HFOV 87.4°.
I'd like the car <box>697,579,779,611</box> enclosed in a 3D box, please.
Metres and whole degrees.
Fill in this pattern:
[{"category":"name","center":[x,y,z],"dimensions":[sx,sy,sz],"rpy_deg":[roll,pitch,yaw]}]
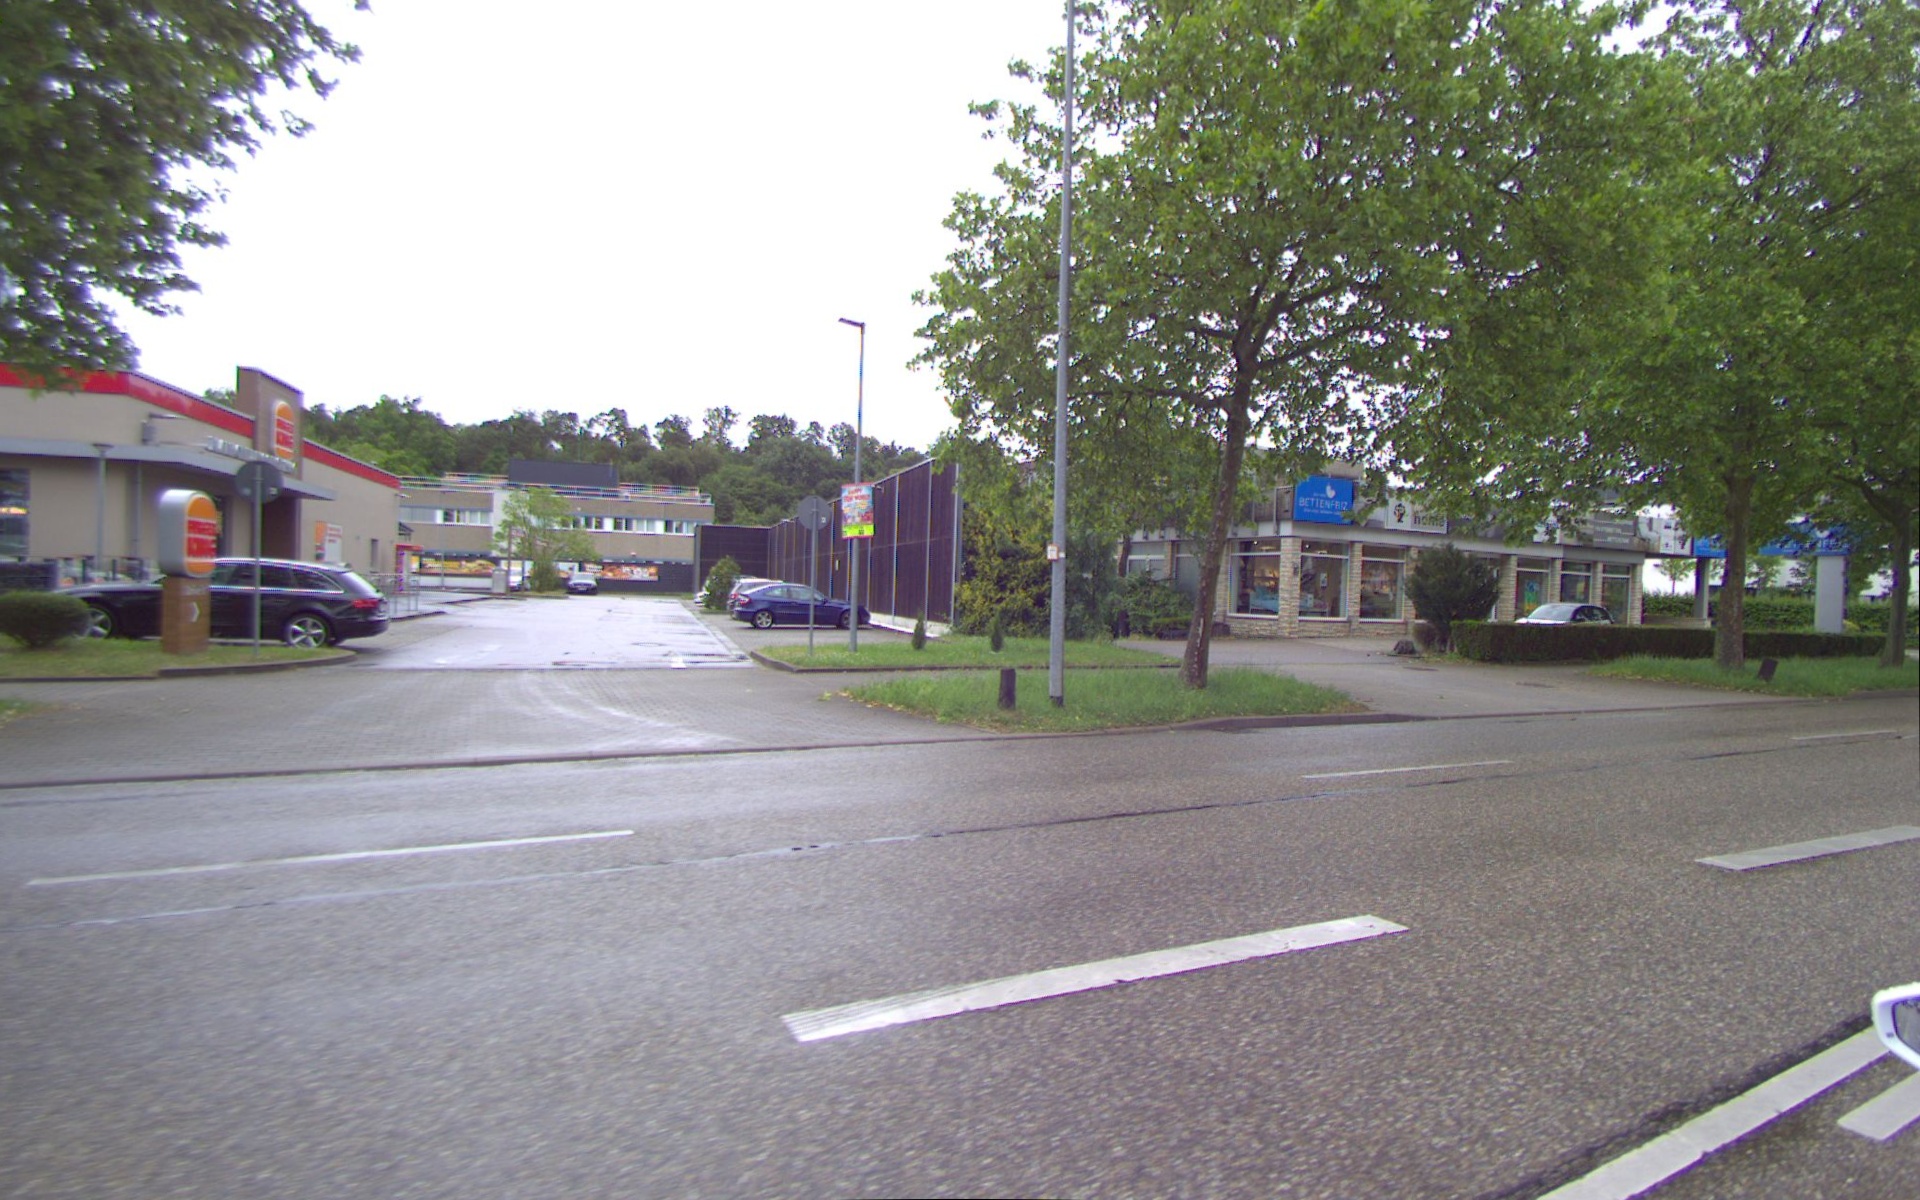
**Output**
[{"category":"car","center":[-12.250,-0.270,55.412],"dimensions":[4.246,1.660,1.864],"rpy_deg":[1,0,-17]}]

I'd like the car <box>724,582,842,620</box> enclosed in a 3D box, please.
[{"category":"car","center":[-6.791,0.028,38.429],"dimensions":[4.246,1.383,1.864],"rpy_deg":[0,1,-17]}]

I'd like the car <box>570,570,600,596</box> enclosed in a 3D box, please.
[{"category":"car","center":[-24.796,-1.113,66.500],"dimensions":[1.689,1.651,3.827],"rpy_deg":[1,0,-19]}]

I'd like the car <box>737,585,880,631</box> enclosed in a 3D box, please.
[{"category":"car","center":[-4.797,0.230,31.680],"dimensions":[4.246,1.383,1.864],"rpy_deg":[0,0,-17]}]

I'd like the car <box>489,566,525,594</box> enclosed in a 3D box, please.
[{"category":"car","center":[-29.088,-1.258,64.543],"dimensions":[1.689,1.651,3.827],"rpy_deg":[1,0,-19]}]

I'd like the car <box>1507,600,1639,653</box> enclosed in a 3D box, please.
[{"category":"car","center":[18.630,0.791,30.504],"dimensions":[3.894,1.506,1.814],"rpy_deg":[1,0,-31]}]

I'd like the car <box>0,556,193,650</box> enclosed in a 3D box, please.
[{"category":"car","center":[-12.647,-0.014,14.763],"dimensions":[1.271,1.171,3.170],"rpy_deg":[1,3,-20]}]

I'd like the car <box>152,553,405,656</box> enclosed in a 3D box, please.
[{"category":"car","center":[-11.136,0.079,16.643],"dimensions":[3.145,1.445,1.431],"rpy_deg":[4,0,-21]}]

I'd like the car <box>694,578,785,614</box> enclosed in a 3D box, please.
[{"category":"car","center":[-10.942,-0.195,49.718],"dimensions":[4.246,1.660,1.864],"rpy_deg":[1,0,-17]}]
